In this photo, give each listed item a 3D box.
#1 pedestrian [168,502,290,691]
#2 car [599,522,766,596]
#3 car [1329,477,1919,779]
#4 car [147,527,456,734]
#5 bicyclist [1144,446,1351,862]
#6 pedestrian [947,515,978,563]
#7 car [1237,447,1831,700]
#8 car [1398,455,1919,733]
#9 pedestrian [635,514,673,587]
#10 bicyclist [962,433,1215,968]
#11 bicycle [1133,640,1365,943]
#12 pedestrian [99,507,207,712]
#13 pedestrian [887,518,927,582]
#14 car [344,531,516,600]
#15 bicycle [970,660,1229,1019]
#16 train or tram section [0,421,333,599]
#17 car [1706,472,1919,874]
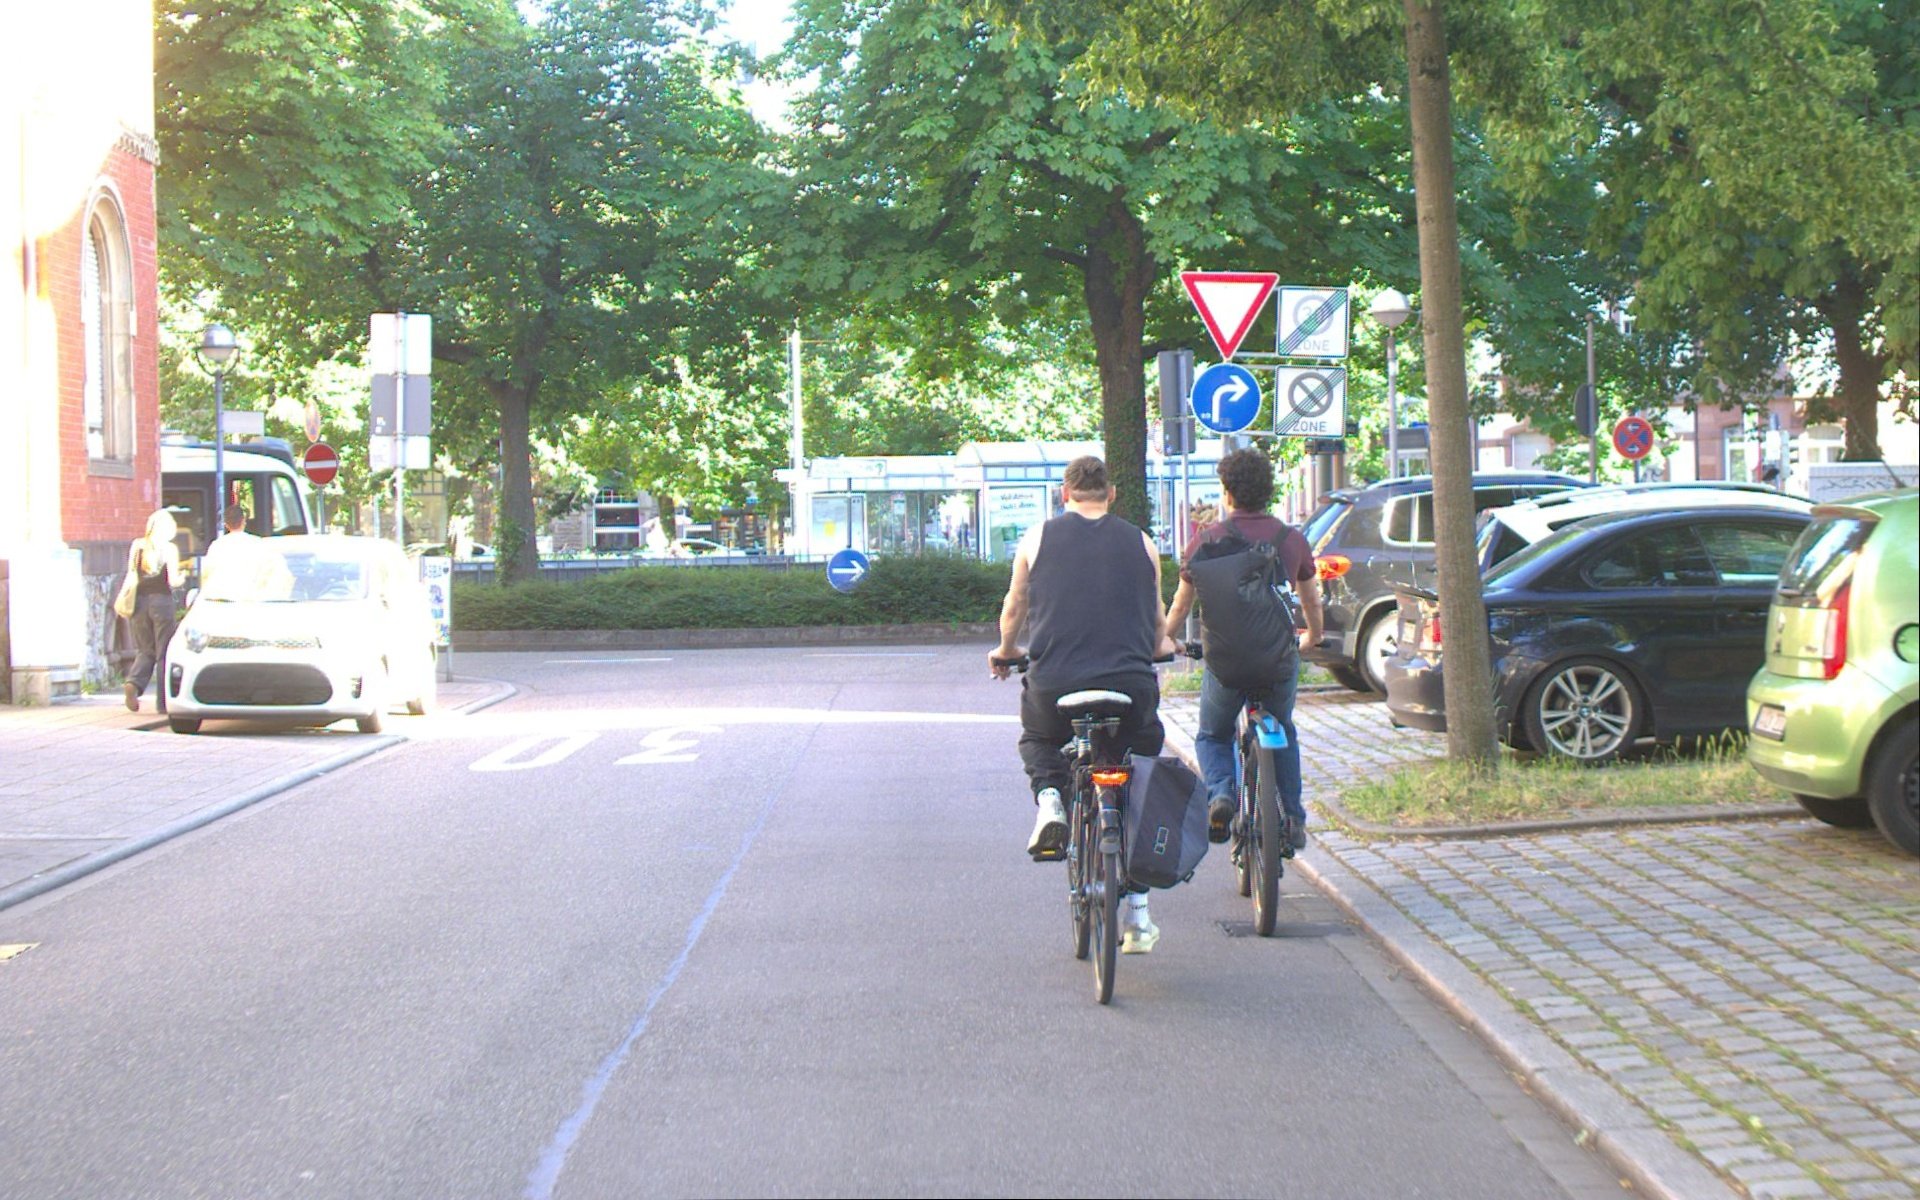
[{"bbox_3d":[-6.490,-0.042,30.571,0.867,1.637,0.860,-1,1,0],"label":"pedestrian"},{"bbox_3d":[-7.483,-1.110,92.642,3.986,1.864,2.000,-2,1,-26],"label":"car"},{"bbox_3d":[4.256,0.096,19.258,4.104,1.407,1.792,-4,1,0],"label":"car"},{"bbox_3d":[-5.098,0.184,27.075,1.705,1.480,3.797,1,1,0],"label":"car"},{"bbox_3d":[1.083,0.196,13.147,0.671,1.509,1.069,-1,0,0],"label":"bicyclist"},{"bbox_3d":[0.088,-2.097,118.647,1.000,1.625,1.064,-1,1,-2],"label":"pedestrian"},{"bbox_3d":[4.365,-0.239,26.580,4.105,1.707,2.025,-3,2,-4],"label":"car"},{"bbox_3d":[4.730,-0.059,21.977,3.693,1.645,1.704,-1,1,3],"label":"car"},{"bbox_3d":[-7.198,-1.169,80.911,0.701,1.689,0.671,0,1,-22],"label":"pedestrian"},{"bbox_3d":[0.407,0.309,11.339,0.752,1.676,0.913,-1,1,0],"label":"bicyclist"},{"bbox_3d":[1.086,0.694,13.314,0.674,1.050,2.061,-1,0,-1],"label":"bicycle"},{"bbox_3d":[-6.444,0.068,27.483,0.600,1.599,0.855,-1,1,1],"label":"pedestrian"},{"bbox_3d":[-1.295,-1.212,83.465,0.809,1.538,0.821,1,1,-11],"label":"pedestrian"},{"bbox_3d":[-13.634,-0.901,88.500,3.938,1.673,1.953,-3,2,-44],"label":"car"},{"bbox_3d":[0.423,0.740,11.370,0.737,1.008,2.061,1,1,0],"label":"bicycle"},{"bbox_3d":[-16.114,-1.660,63.686,8.415,3.166,2.862,0,1,-23],"label":"train or tram section"},{"bbox_3d":[5.024,0.191,13.933,3.589,1.500,1.678,-3,2,1],"label":"car"}]
